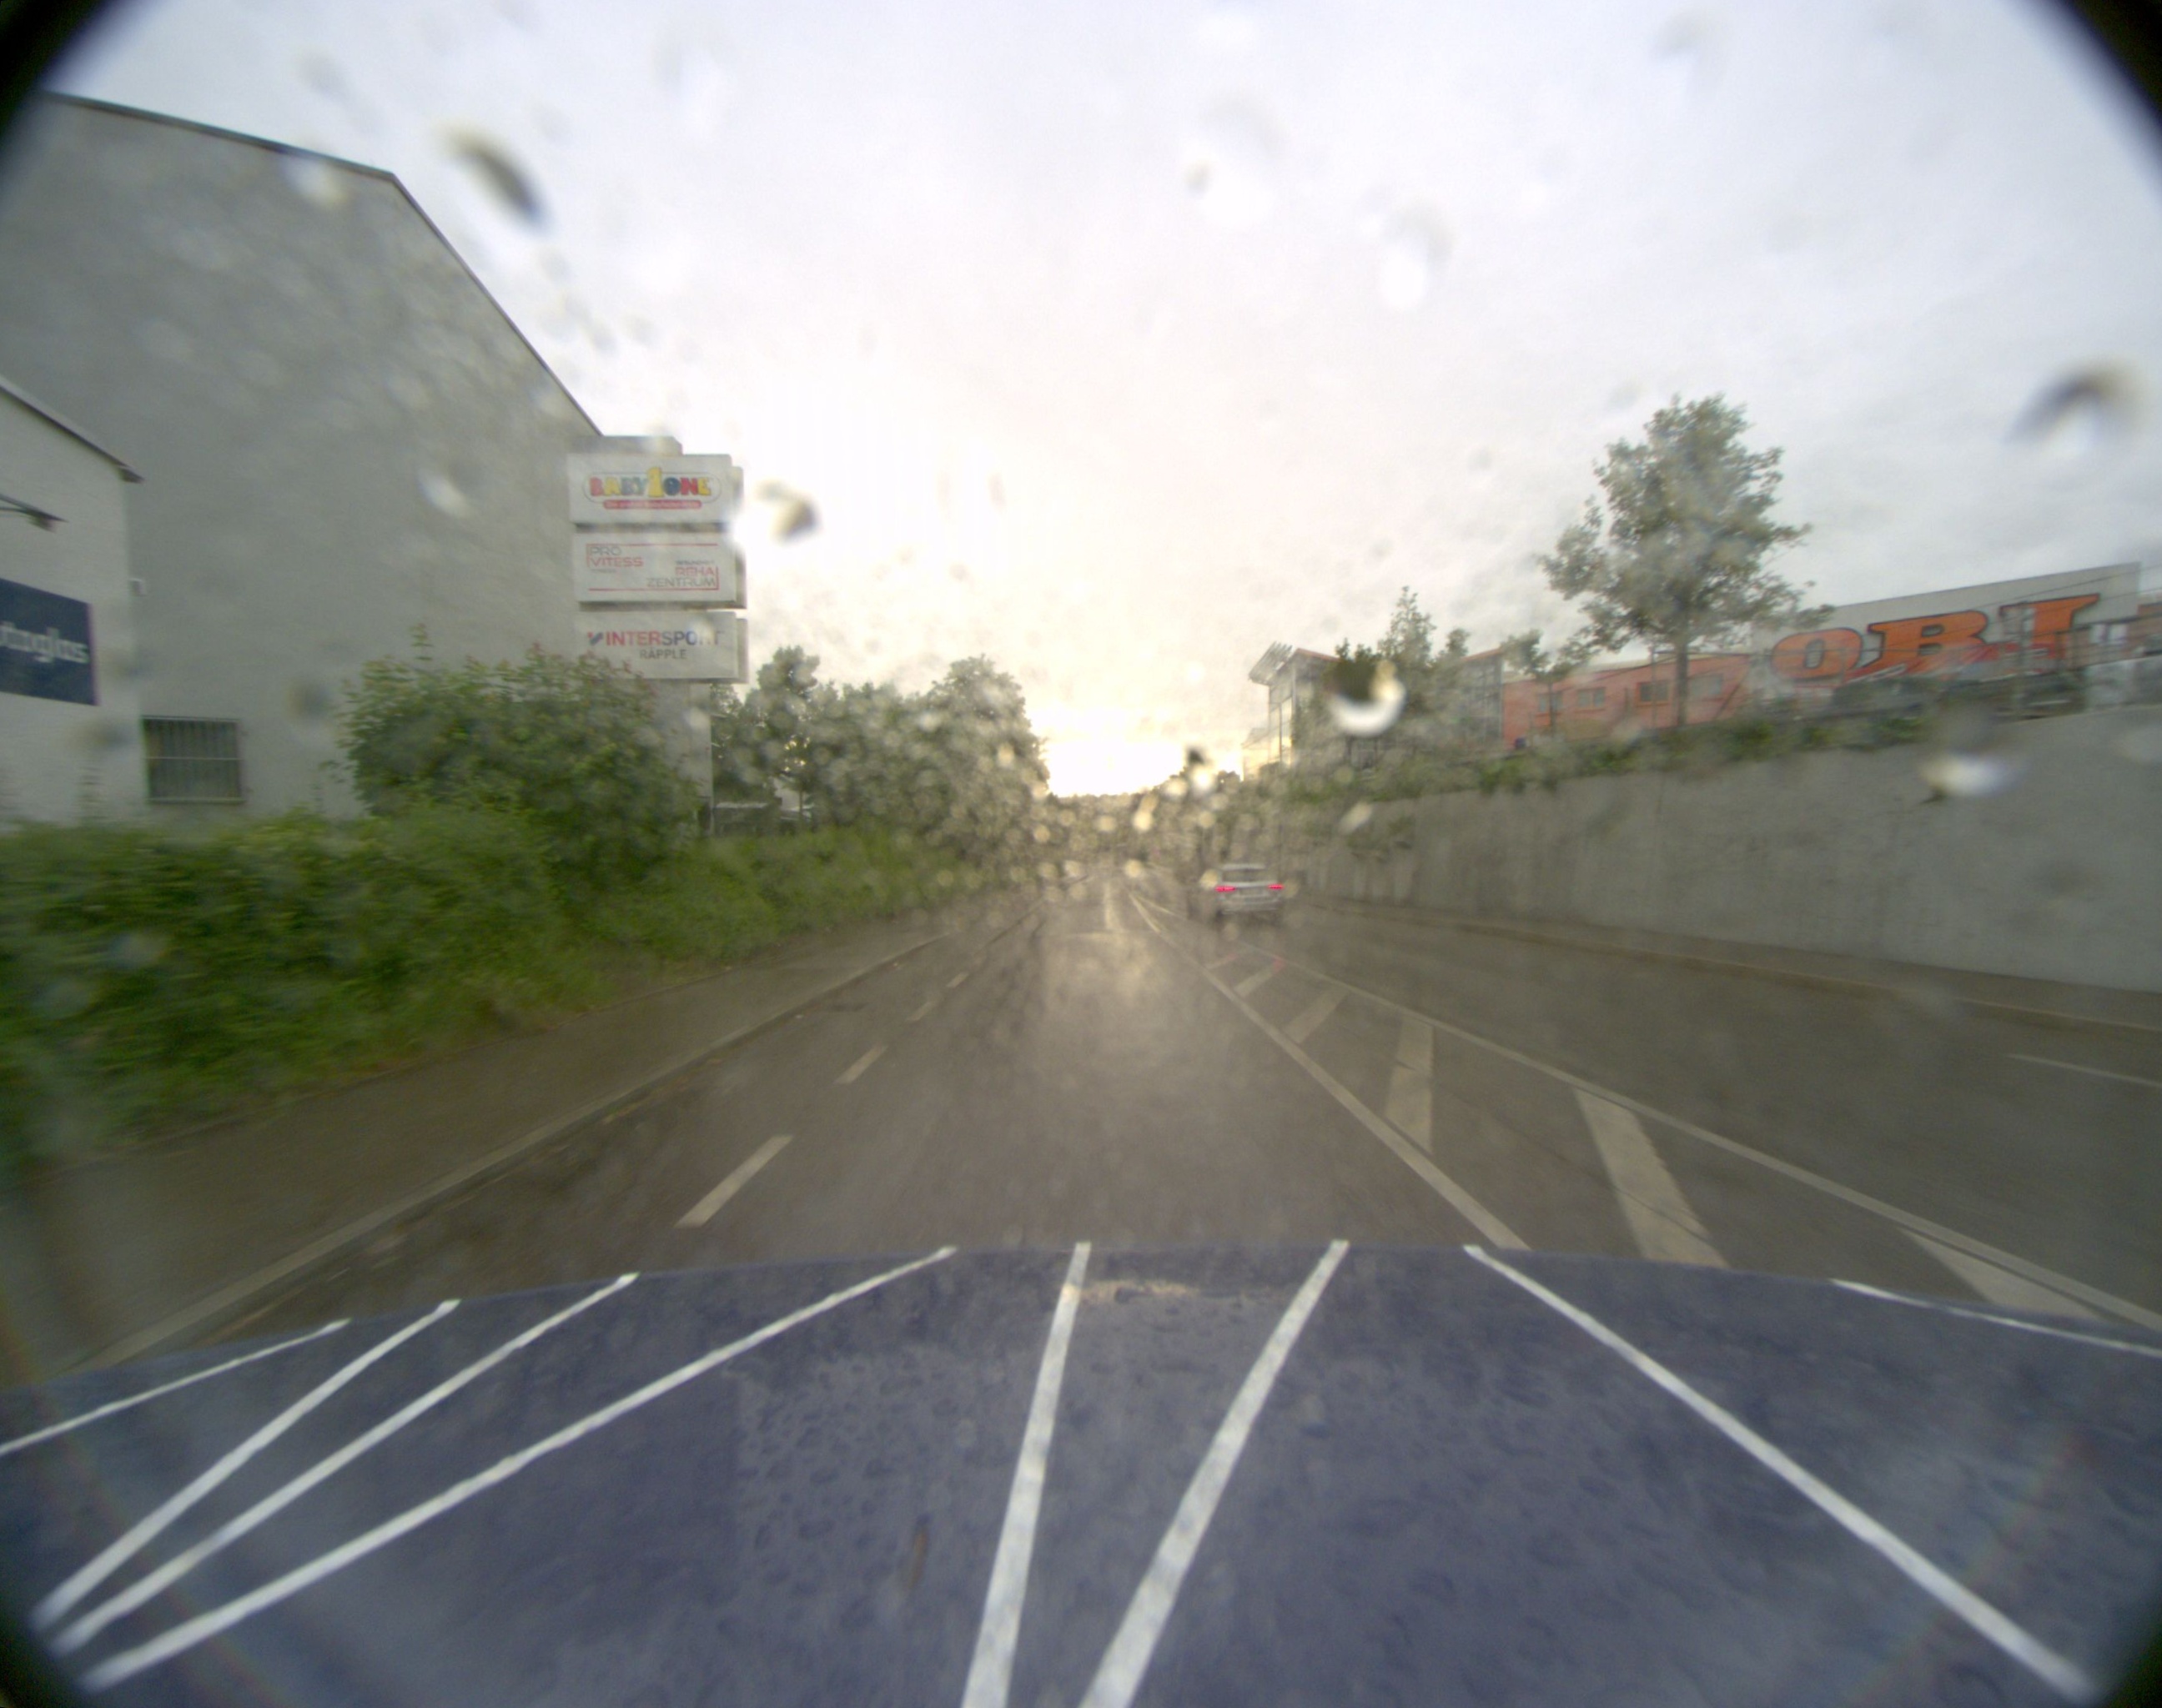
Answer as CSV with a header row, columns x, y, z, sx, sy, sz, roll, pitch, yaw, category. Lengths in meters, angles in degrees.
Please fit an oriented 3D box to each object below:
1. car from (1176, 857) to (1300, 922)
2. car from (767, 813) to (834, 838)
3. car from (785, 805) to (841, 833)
x,y,z,sx,sy,sz,roll,pitch,yaw,category
3.862,0.819,19.617,2.006,1.418,4.780,-2,0,-2,car
-14.520,-1.501,39.412,3.002,1.189,1.486,-2,4,-12,car
-16.594,-2.185,47.184,3.002,1.669,1.486,-2,4,-12,car
